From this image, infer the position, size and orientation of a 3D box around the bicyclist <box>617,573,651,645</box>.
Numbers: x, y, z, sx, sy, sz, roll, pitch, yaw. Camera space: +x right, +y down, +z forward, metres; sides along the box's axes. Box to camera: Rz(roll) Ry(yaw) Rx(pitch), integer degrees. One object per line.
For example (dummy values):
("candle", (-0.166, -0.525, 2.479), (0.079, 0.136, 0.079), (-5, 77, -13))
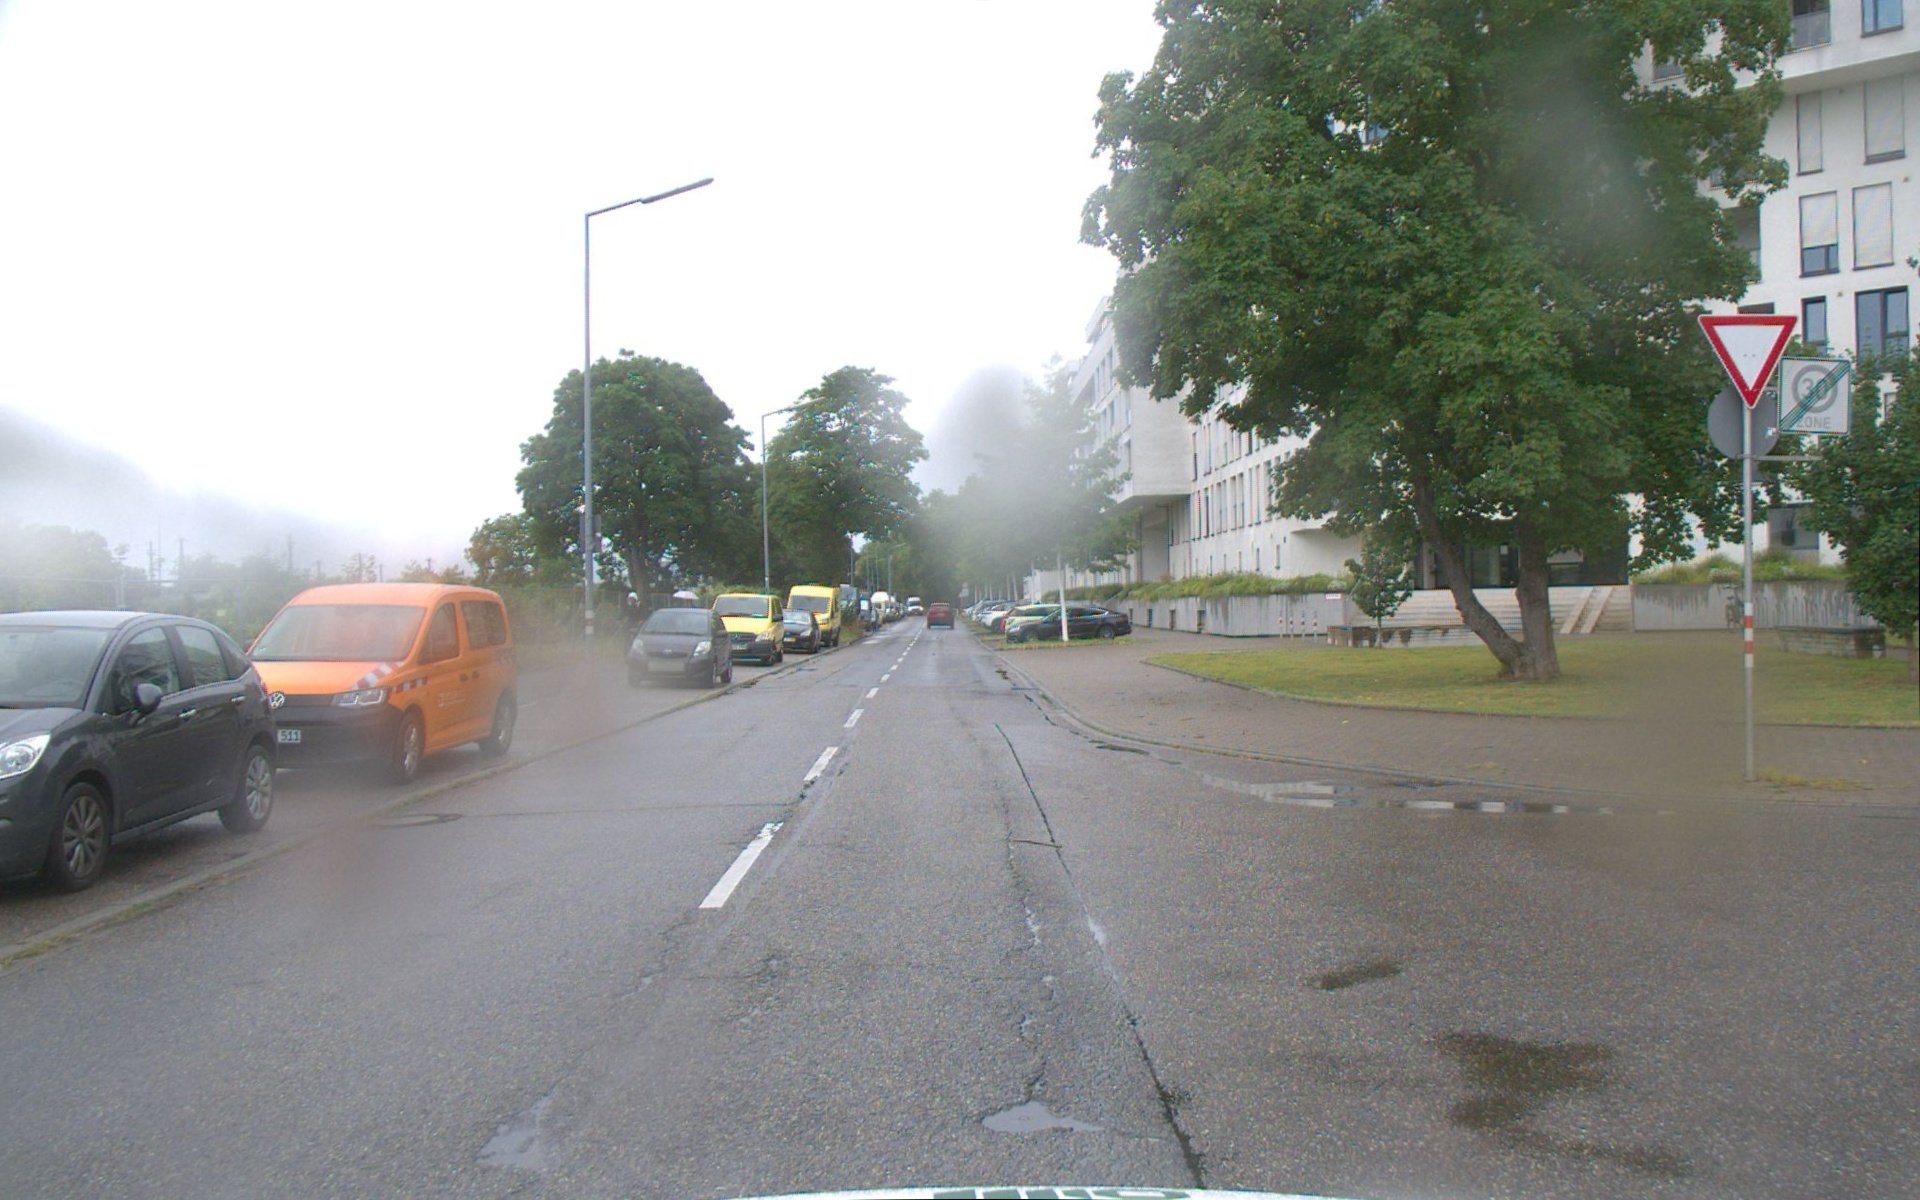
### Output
("bicyclist", (-8.557, 0.223, 43.488), (0.684, 1.861, 1.008), (0, 0, -1))

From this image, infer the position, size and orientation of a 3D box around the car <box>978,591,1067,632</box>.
("car", (3.308, 0.611, 88.306), (4.451, 1.714, 1.884), (-6, 0, -4))

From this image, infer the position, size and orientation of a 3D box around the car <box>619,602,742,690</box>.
("car", (-5.514, 0.868, 33.071), (1.767, 1.588, 4.032), (2, 0, 0))

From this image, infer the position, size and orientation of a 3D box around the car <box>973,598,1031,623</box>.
("car", (2.885, 0.733, 114.699), (3.906, 1.536, 1.684), (-3, 1, -1))

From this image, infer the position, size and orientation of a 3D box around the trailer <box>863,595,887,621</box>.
("trailer", (-7.431, 0.682, 144.439), (2.017, 2.256, 5.792), (0, 0, -2))

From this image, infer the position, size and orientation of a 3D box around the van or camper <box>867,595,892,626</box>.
("van or camper", (-7.622, 0.996, 157.085), (1.953, 2.810, 7.897), (0, 0, 0))

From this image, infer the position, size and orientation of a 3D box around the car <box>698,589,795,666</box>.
("car", (-5.834, 0.732, 45.830), (1.976, 1.991, 6.063), (1, 0, -1))

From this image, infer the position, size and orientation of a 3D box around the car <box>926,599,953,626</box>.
("car", (-1.362, 0.853, 110.801), (1.720, 1.735, 4.000), (-1, 0, 0))

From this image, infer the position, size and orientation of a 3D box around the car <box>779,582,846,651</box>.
("car", (-6.162, 0.670, 69.884), (2.146, 2.741, 6.082), (1, 0, 1))

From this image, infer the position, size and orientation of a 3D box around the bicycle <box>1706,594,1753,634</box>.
("bicycle", (21.166, 0.386, 45.491), (0.711, 1.051, 2.064), (-2, 0, 38))

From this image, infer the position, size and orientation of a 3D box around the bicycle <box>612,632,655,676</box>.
("bicycle", (-8.548, 1.406, 43.404), (0.701, 1.060, 2.144), (0, 0, 0))

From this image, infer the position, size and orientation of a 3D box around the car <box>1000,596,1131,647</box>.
("car", (3.784, 0.779, 59.789), (4.479, 1.523, 1.825), (-4, 0, -2))

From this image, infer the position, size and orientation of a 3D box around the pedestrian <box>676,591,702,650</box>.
("pedestrian", (-9.546, 0.723, 58.312), (0.727, 2.049, 0.980), (0, 0, 0))

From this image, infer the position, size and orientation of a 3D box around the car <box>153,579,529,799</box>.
("car", (-5.718, 0.743, 15.930), (1.900, 1.798, 4.331), (-1, 0, 1))

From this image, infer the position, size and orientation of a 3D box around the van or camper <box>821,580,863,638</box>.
("van or camper", (-6.703, 0.515, 94.298), (2.052, 3.148, 6.421), (1, -1, -2))

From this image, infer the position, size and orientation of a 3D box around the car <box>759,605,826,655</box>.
("car", (-5.824, 1.032, 58.126), (1.953, 1.622, 5.015), (1, -1, -2))

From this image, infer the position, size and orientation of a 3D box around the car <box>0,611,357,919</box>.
("car", (-5.617, 0.862, 10.749), (1.649, 1.528, 4.891), (-1, 0, -1))

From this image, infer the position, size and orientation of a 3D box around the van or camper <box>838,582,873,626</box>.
("van or camper", (-6.934, 0.304, 110.548), (2.052, 2.763, 7.570), (1, -1, -2))

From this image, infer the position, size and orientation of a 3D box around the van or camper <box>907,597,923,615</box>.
("van or camper", (-6.384, 0.838, 234.261), (1.953, 2.541, 7.177), (-2, 0, 0))

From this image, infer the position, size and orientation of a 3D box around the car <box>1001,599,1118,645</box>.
("car", (3.906, 0.867, 65.369), (4.397, 1.507, 1.691), (-4, 0, -1))
